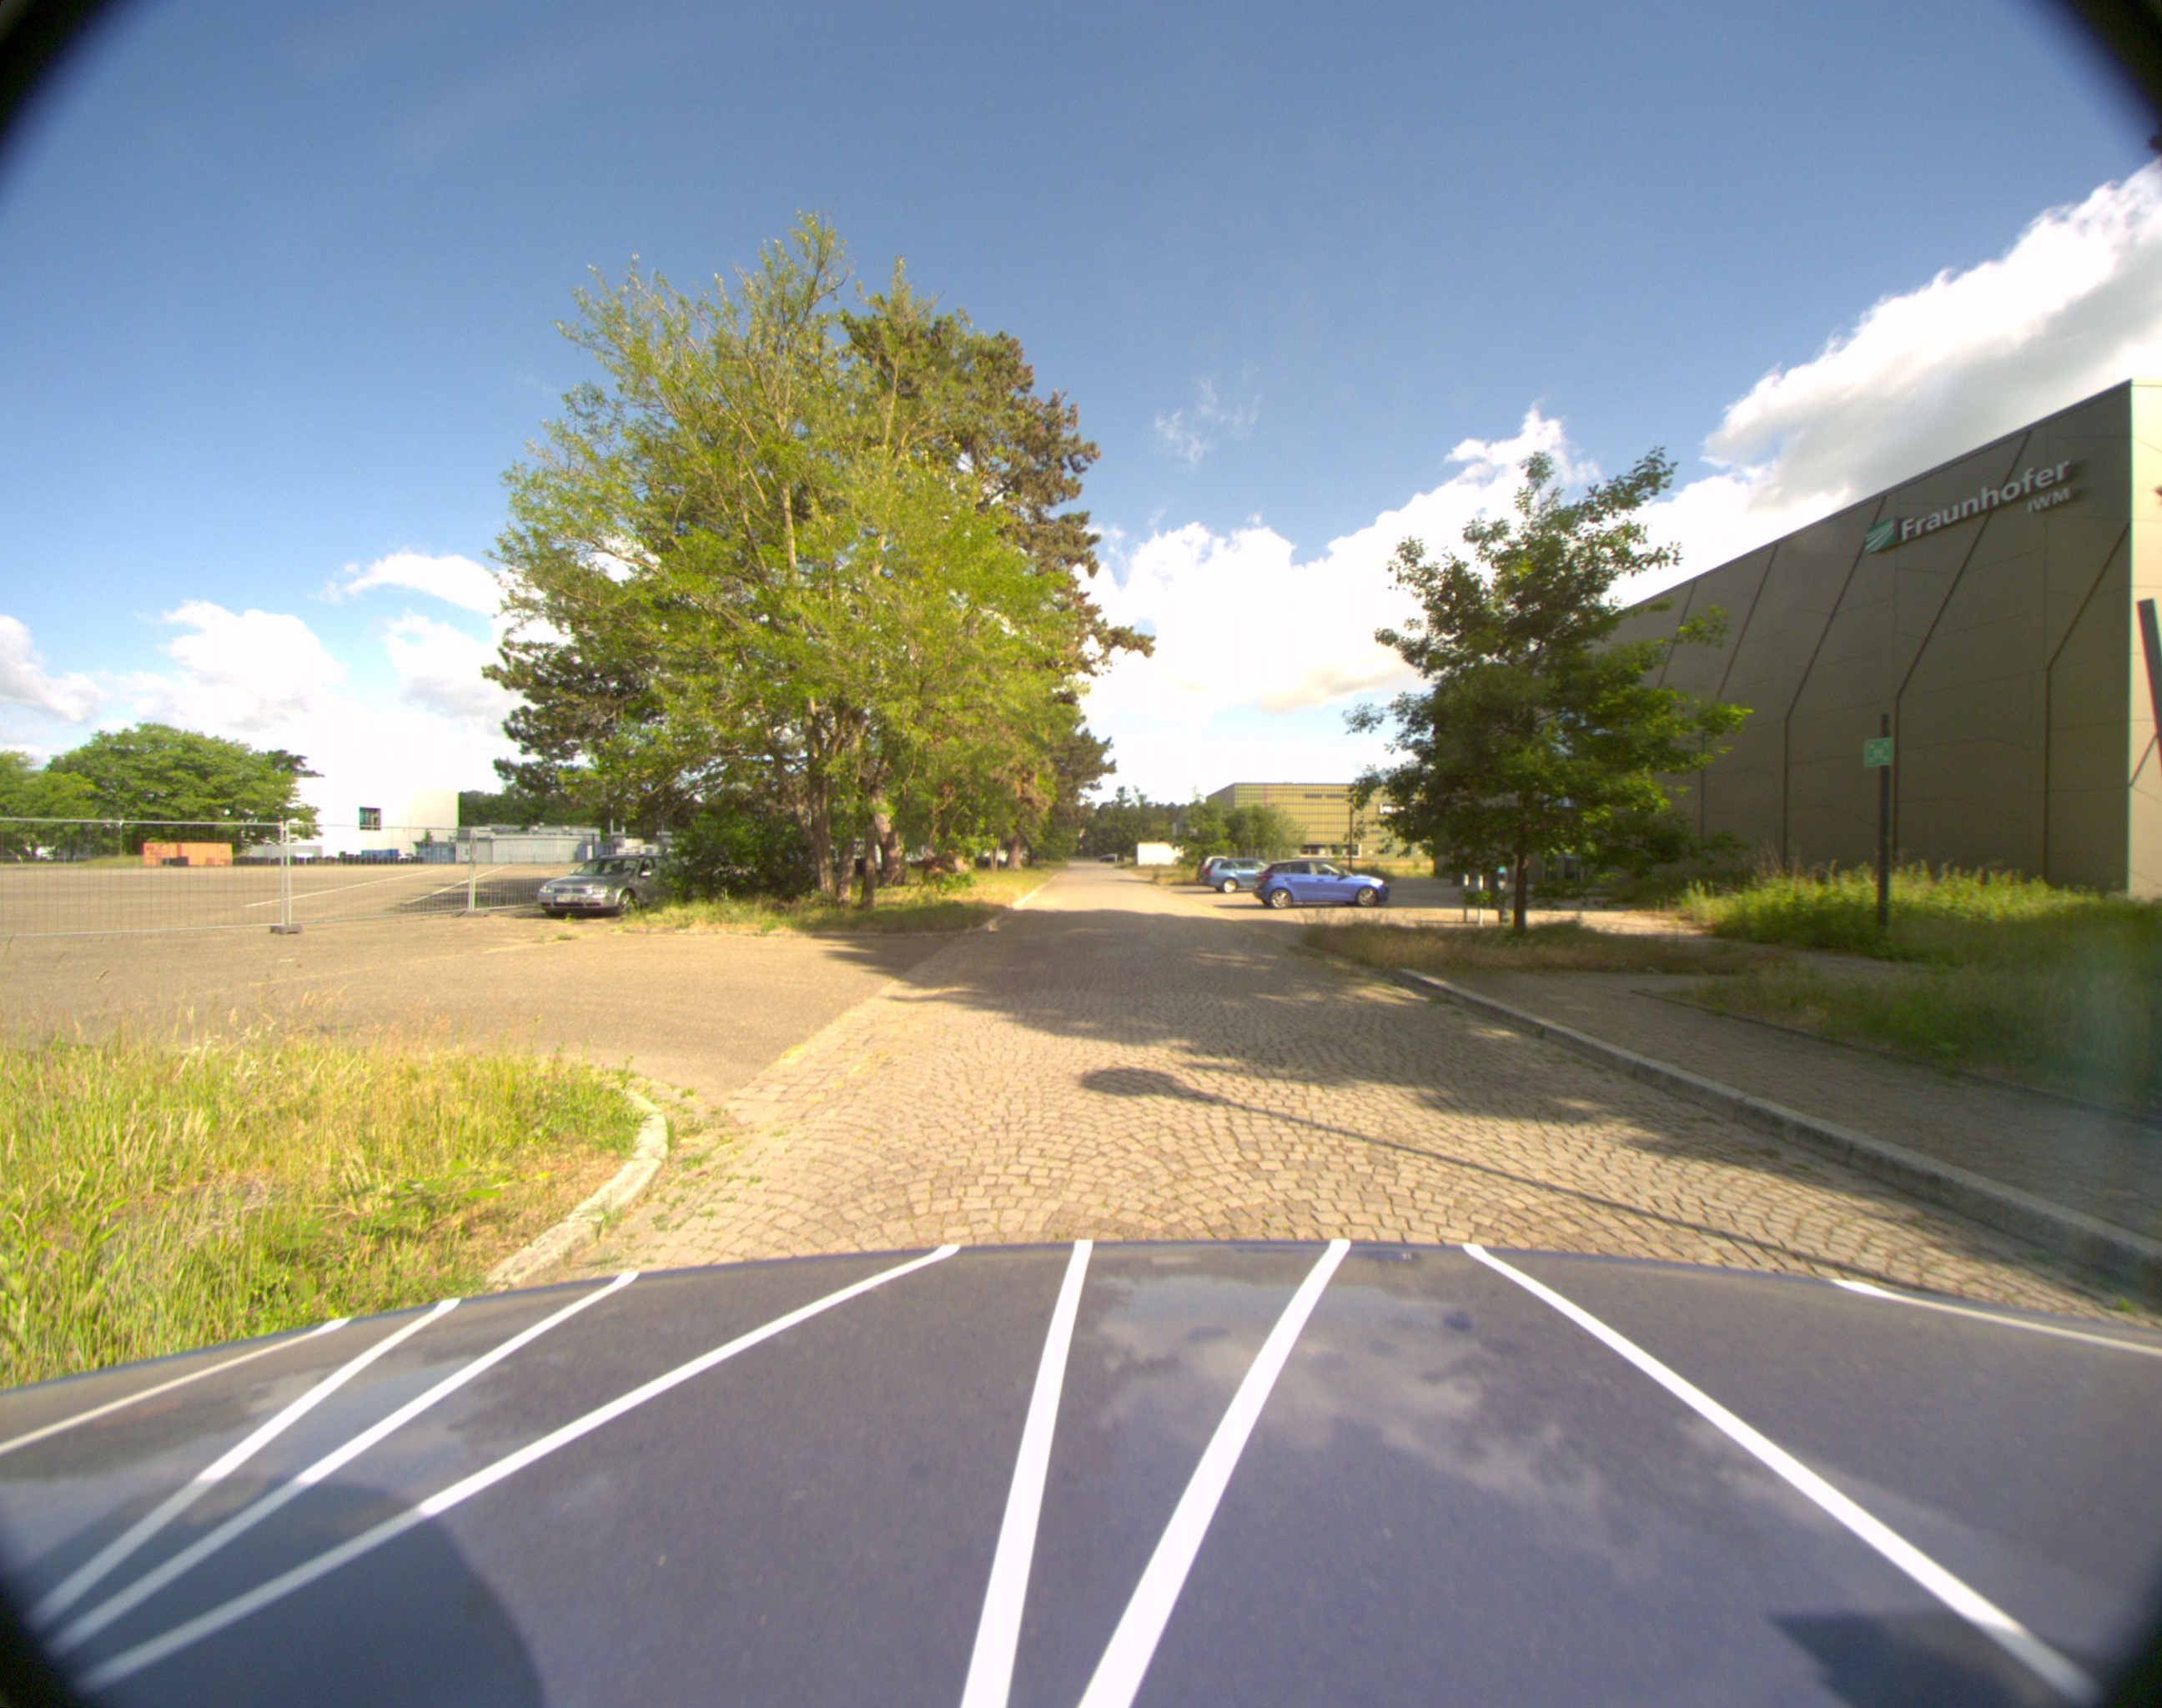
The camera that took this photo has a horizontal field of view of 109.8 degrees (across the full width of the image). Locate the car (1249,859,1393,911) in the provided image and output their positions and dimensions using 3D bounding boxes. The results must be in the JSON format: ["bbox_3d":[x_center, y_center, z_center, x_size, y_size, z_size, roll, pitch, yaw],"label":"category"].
[{"bbox_3d":[7.333,0.942,23.491,3.918,1.459,1.735,-1,0,3],"label":"car"}]

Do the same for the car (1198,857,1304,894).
[{"bbox_3d":[7.331,0.895,33.014,4.180,1.465,1.734,-1,0,-2],"label":"car"}]

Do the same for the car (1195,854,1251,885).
[{"bbox_3d":[7.518,0.824,40.335,2.652,1.559,1.481,-1,1,-1],"label":"car"}]

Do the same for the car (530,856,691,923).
[{"bbox_3d":[-11.183,0.775,18.415,1.579,1.435,3.985,0,0,-3],"label":"car"}]
